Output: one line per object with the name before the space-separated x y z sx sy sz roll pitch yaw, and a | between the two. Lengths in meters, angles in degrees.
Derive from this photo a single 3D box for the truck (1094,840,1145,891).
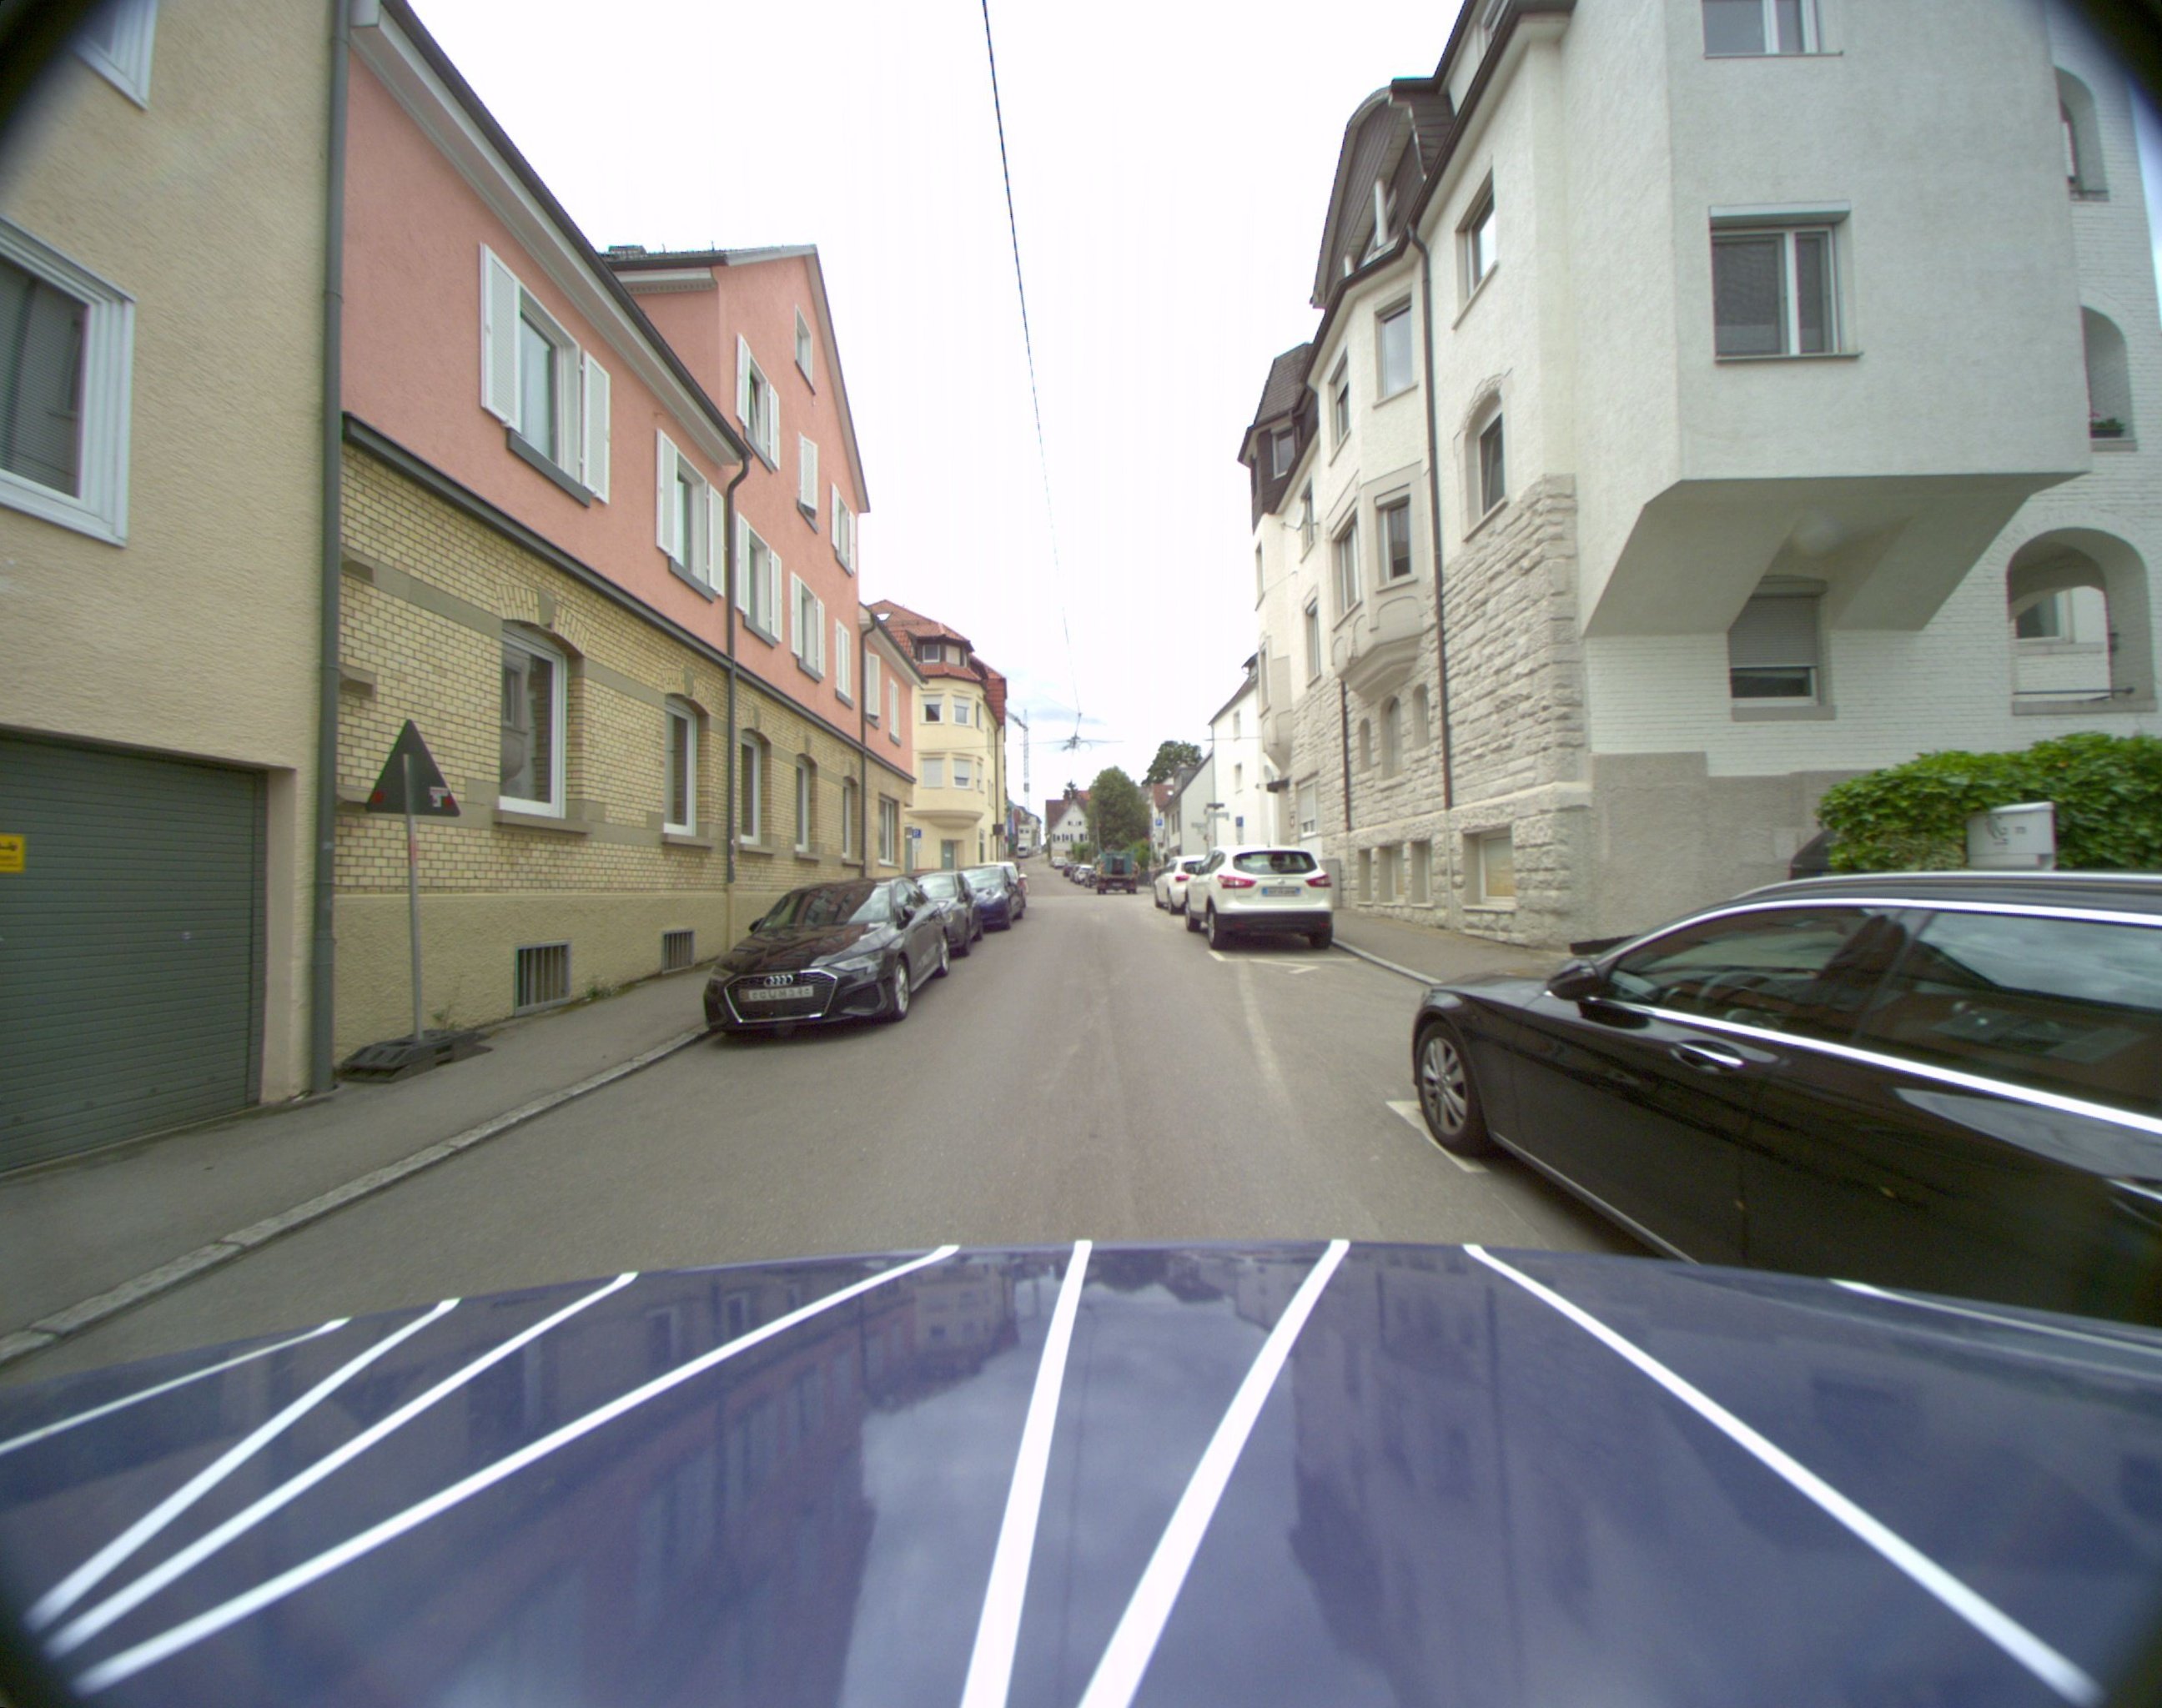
truck | 1.976 0.690 40.951 2.316 2.536 6.290 1 -2 0

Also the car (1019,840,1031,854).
car | -10.691 -1.301 145.189 2.194 2.630 5.822 1 0 -6

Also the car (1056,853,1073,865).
car | -2.206 0.645 101.301 1.856 1.441 3.944 1 0 -6

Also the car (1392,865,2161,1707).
car | 2.650 0.866 1.977 1.900 1.518 4.470 -1 1 1

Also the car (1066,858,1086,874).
car | -0.558 1.307 82.942 1.856 1.641 3.944 1 0 -6

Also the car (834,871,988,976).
car | -2.721 1.055 13.109 1.857 1.395 3.966 -2 0 -2

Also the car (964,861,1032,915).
car | -2.438 0.971 23.136 1.672 1.470 3.626 -1 0 0

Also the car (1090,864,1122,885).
car | 1.731 1.458 54.145 1.855 1.454 3.945 1 -1 -4

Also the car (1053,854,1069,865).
car | -2.820 0.803 107.358 1.856 1.441 3.942 1 2 -6

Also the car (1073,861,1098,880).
car | 0.350 1.479 69.173 1.856 1.641 3.944 1 0 -6

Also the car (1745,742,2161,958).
car | 8.918 -0.115 7.143 3.672 1.495 1.657 -8 1 3

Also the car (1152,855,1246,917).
car | 2.927 0.753 19.681 1.703 1.405 4.240 -1 0 -1

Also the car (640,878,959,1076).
car | -2.699 1.097 8.600 1.857 1.395 4.575 -4 0 -1

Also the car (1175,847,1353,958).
car | 2.803 0.685 12.657 1.850 1.506 4.240 -1 0 -1

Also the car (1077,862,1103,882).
car | 0.741 1.491 63.755 1.855 1.640 3.945 1 -1 -4

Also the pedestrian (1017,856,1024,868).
pedestrian | -7.222 0.981 90.656 0.757 1.480 0.566 -1 0 -18

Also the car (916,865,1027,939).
car | -2.393 1.014 17.724 1.857 1.395 4.292 -2 0 1
